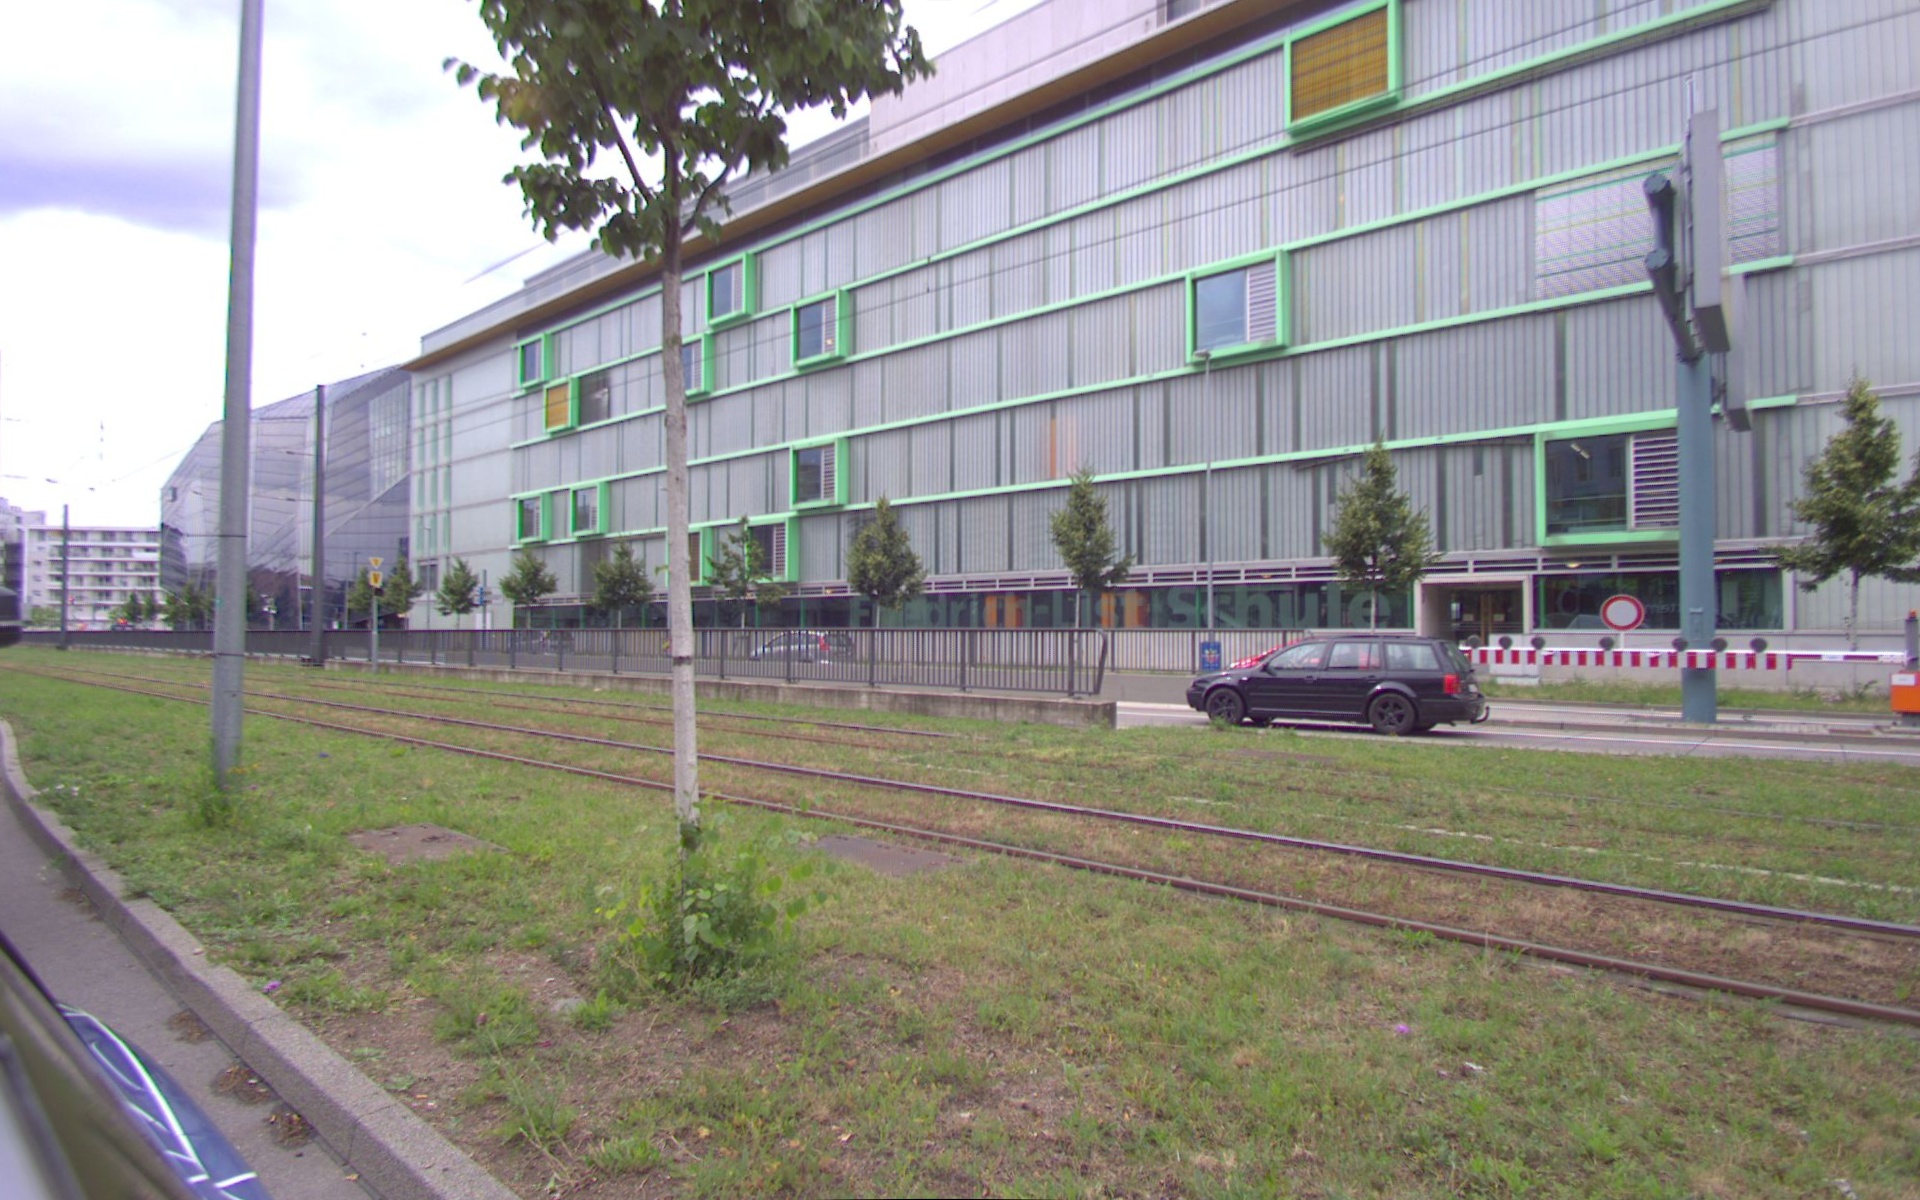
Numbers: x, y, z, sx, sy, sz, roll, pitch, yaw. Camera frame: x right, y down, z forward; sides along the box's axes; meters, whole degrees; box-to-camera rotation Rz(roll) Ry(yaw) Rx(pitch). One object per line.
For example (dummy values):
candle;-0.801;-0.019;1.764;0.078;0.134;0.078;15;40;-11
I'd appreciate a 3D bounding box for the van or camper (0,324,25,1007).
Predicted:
van or camper;-6.189;0.288;4.773;5.037;2.607;2.017;-2;-2;40

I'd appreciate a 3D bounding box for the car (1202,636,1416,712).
car;7.977;1.625;23.361;4.324;1.583;1.778;-2;-2;40

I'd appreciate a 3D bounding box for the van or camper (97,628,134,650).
van or camper;-89.931;4.167;107.776;5.356;2.304;2.150;-2;-3;41

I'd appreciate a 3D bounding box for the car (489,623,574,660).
car;-20.301;1.909;47.839;4.574;1.582;1.779;0;1;39

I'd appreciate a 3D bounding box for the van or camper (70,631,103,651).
van or camper;-101.846;4.786;117.954;6.503;2.304;2.150;-2;-2;42

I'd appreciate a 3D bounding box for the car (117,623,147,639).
car;-92.969;3.469;113.614;4.766;1.605;1.972;-4;-4;43

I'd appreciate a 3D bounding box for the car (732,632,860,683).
car;-5.718;1.939;34.930;4.670;1.656;1.704;-2;-2;39

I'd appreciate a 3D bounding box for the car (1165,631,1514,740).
car;5.673;1.219;15.511;4.739;1.438;1.647;-2;-4;38
